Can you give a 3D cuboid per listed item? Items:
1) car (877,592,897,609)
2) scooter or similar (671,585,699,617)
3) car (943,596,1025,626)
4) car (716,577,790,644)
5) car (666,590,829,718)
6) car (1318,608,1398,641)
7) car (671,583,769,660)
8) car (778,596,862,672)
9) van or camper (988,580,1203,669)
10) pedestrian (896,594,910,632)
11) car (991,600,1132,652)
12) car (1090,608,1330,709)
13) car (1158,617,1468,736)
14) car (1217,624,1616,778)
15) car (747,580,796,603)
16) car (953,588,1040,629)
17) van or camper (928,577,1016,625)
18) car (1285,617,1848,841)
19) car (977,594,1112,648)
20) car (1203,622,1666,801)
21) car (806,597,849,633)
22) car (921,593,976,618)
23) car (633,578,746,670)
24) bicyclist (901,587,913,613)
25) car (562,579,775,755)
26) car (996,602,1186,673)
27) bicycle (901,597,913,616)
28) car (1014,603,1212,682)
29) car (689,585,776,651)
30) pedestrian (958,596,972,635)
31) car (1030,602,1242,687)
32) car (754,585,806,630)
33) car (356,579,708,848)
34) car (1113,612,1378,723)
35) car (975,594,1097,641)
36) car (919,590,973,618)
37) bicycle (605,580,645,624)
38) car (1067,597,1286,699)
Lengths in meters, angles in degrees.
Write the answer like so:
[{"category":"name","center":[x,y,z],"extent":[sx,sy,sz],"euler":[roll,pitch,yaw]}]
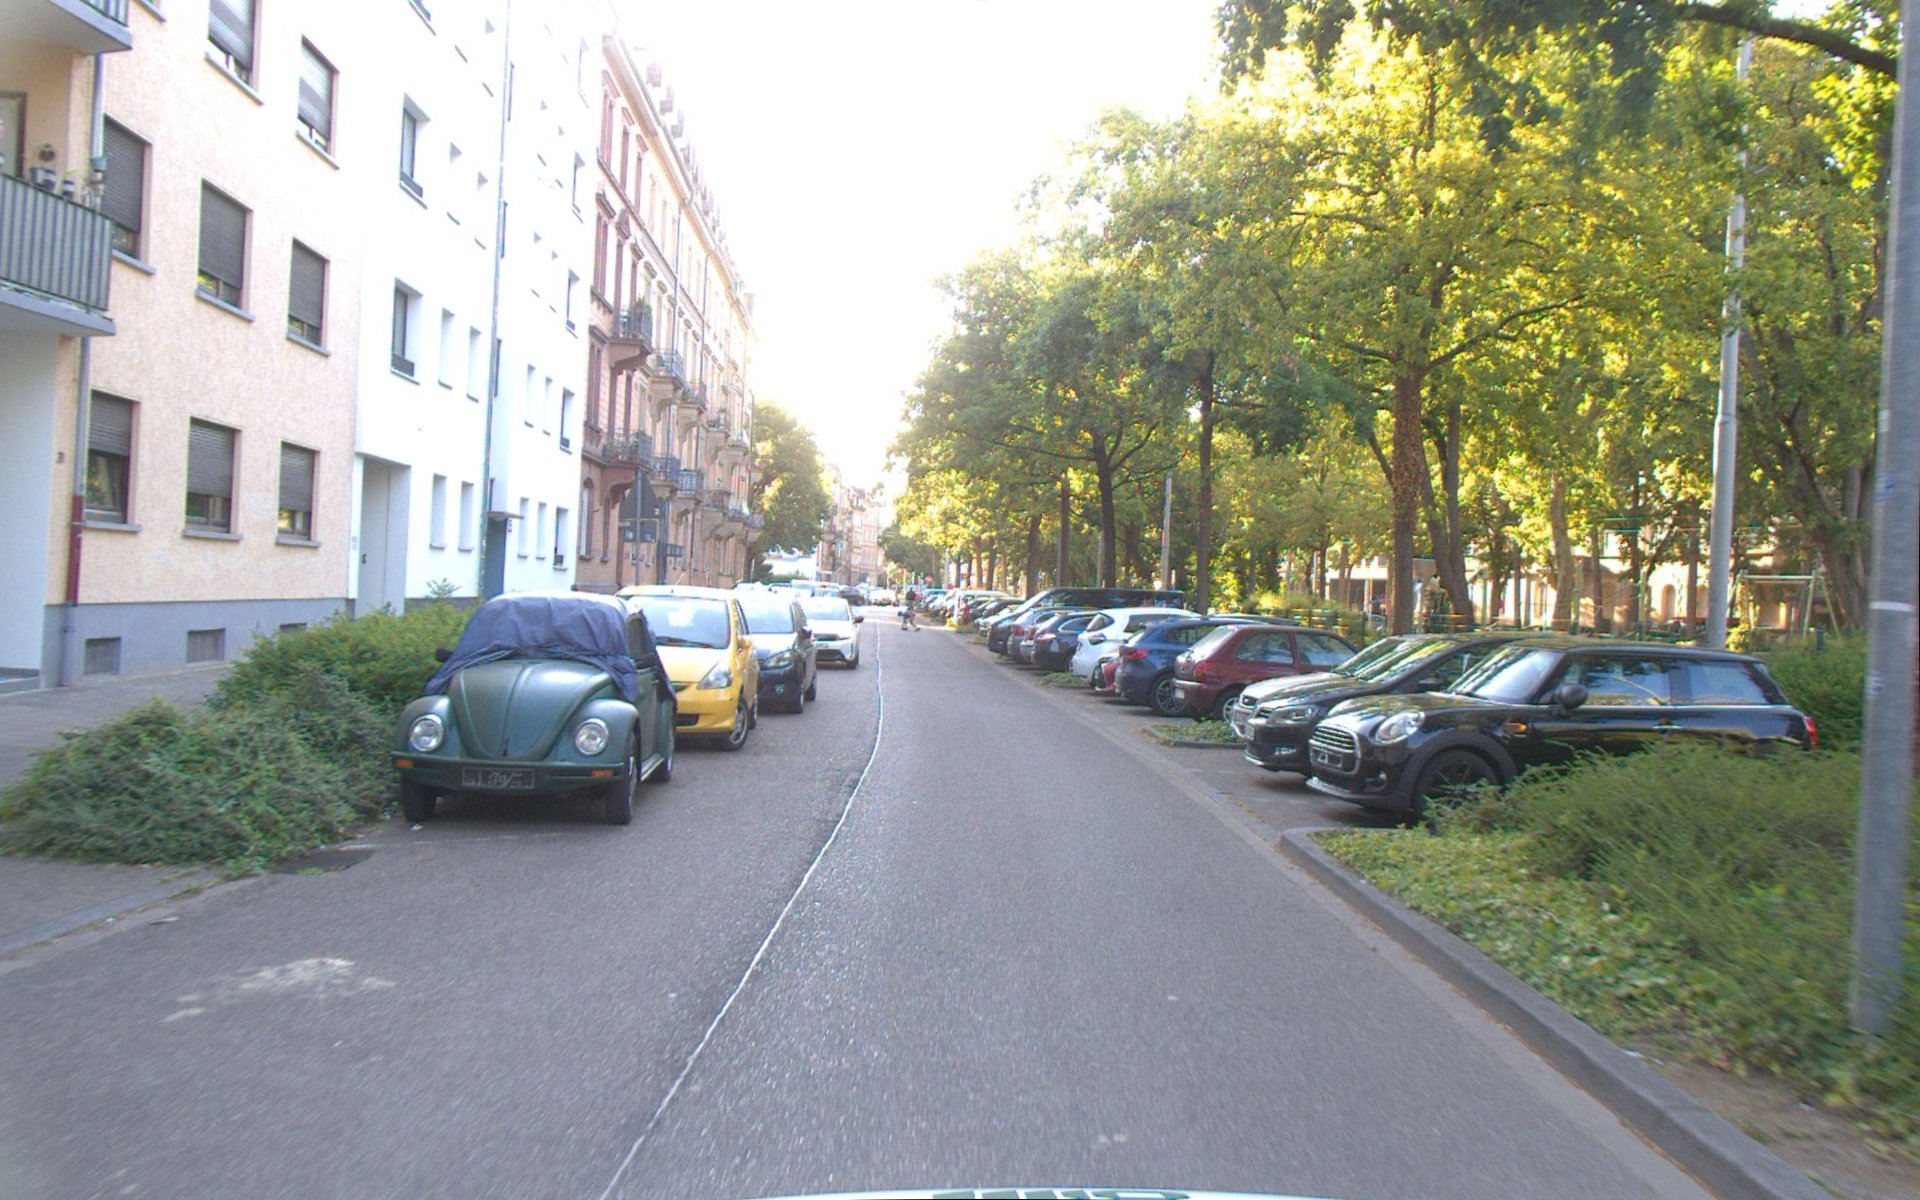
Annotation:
[{"category":"car","center":[-6.525,0.035,147.594],"extent":[1.635,1.489,3.997],"euler":[2,0,-4]},{"category":"scooter or similar","center":[-11.370,0.052,68.417],"extent":[0.768,1.243,2.702],"euler":[4,-2,-3]},{"category":"car","center":[1.219,0.560,84.709],"extent":[4.133,1.478,1.649],"euler":[1,0,1]},{"category":"car","center":[-5.924,0.286,47.638],"extent":[1.717,1.735,4.198],"euler":[4,0,-3]},{"category":"car","center":[-2.734,0.650,22.043],"extent":[1.704,1.505,3.999],"euler":[2,0,-2]},{"category":"car","center":[25.067,1.526,104.141],"extent":[4.603,1.713,2.000],"euler":[3,-2,21]},{"category":"car","center":[-5.424,0.455,37.808],"extent":[1.635,1.496,4.282],"euler":[6,0,-2]},{"category":"car","center":[-2.975,0.700,35.760],"extent":[1.635,1.455,3.999],"euler":[0,1,-2]},{"category":"van or camper","center":[3.437,0.598,42.748],"extent":[5.304,2.062,2.029],"euler":[2,1,-1]},{"category":"pedestrian","center":[-2.453,0.565,70.996],"extent":[0.372,1.612,0.519],"euler":[3,2,16]},{"category":"car","center":[3.178,0.828,52.411],"extent":[4.310,1.465,1.837],"euler":[2,-1,-1]},{"category":"car","center":[4.105,0.966,27.518],"extent":[3.705,1.499,1.664],"euler":[2,-1,-1]},{"category":"car","center":[4.707,1.016,22.335],"extent":[3.710,1.426,1.764],"euler":[2,-1,-7]},{"category":"car","center":[4.737,1.042,17.475],"extent":[3.707,1.426,1.663],"euler":[2,-1,-4]},{"category":"car","center":[-16.361,-0.729,143.616],"extent":[3.907,1.735,1.999],"euler":[4,-2,-2]},{"category":"car","center":[1.749,0.392,80.250],"extent":[4.135,1.896,1.761],"euler":[1,0,-2]},{"category":"van or camper","center":[0.692,0.075,97.225],"extent":[4.885,2.418,2.182],"euler":[4,-2,-5]},{"category":"car","center":[4.552,0.955,12.676],"extent":[3.710,1.498,1.633],"euler":[2,-2,-7]},{"category":"car","center":[2.788,0.707,55.151],"extent":[4.312,1.619,1.836],"euler":[2,-1,-4]},{"category":"car","center":[4.257,0.989,15.244],"extent":[3.706,1.426,1.826],"euler":[2,-1,-2]},{"category":"car","center":[-5.688,0.616,71.240],"extent":[1.473,1.460,2.753],"euler":[2,0,2]},{"category":"car","center":[-0.893,0.403,124.772],"extent":[3.910,1.590,1.856],"euler":[4,-2,-6]},{"category":"car","center":[-5.279,0.435,32.708],"extent":[1.636,1.534,3.998],"euler":[6,0,-3]},{"category":"bicyclist","center":[-3.306,0.018,103.733],"extent":[0.615,1.600,0.801],"euler":[4,-2,-4]},{"category":"car","center":[-2.893,0.614,17.108],"extent":[1.669,1.552,3.771],"euler":[2,0,-3]},{"category":"car","center":[3.150,0.919,40.280],"extent":[4.314,1.527,1.835],"euler":[2,-1,-6]},{"category":"bicycle","center":[-3.334,0.426,103.794],"extent":[0.628,1.119,1.942],"euler":[4,-2,-4]},{"category":"car","center":[3.444,0.960,37.698],"extent":[4.310,1.605,1.664],"euler":[2,-2,-1]},{"category":"car","center":[-5.773,0.433,42.355],"extent":[1.583,1.476,4.000],"euler":[5,0,-1]},{"category":"pedestrian","center":[0.192,0.620,66.819],"extent":[0.372,1.543,0.519],"euler":[3,2,16]},{"category":"car","center":[3.657,0.937,34.861],"extent":[4.308,1.605,1.664],"euler":[2,-2,2]},{"category":"car","center":[-6.789,0.257,62.549],"extent":[1.720,1.489,3.996],"euler":[5,0,-5]},{"category":"car","center":[-2.848,0.683,11.801],"extent":[1.535,1.544,3.781],"euler":[2,0,-1]},{"category":"car","center":[4.203,0.999,24.785],"extent":[3.703,1.472,1.664],"euler":[2,-1,2]},{"category":"car","center":[2.857,0.653,62.538],"extent":[4.316,1.619,1.834],"euler":[2,-1,-8]},{"category":"car","center":[-1.110,0.322,127.433],"extent":[3.910,1.825,1.856],"euler":[4,-2,-6]},{"category":"bicycle","center":[-10.195,0.041,50.445],"extent":[0.722,1.227,2.513],"euler":[4,1,-2]},{"category":"car","center":[3.897,0.866,30.145],"extent":[3.706,1.675,1.663],"euler":[2,-2,-3]}]
